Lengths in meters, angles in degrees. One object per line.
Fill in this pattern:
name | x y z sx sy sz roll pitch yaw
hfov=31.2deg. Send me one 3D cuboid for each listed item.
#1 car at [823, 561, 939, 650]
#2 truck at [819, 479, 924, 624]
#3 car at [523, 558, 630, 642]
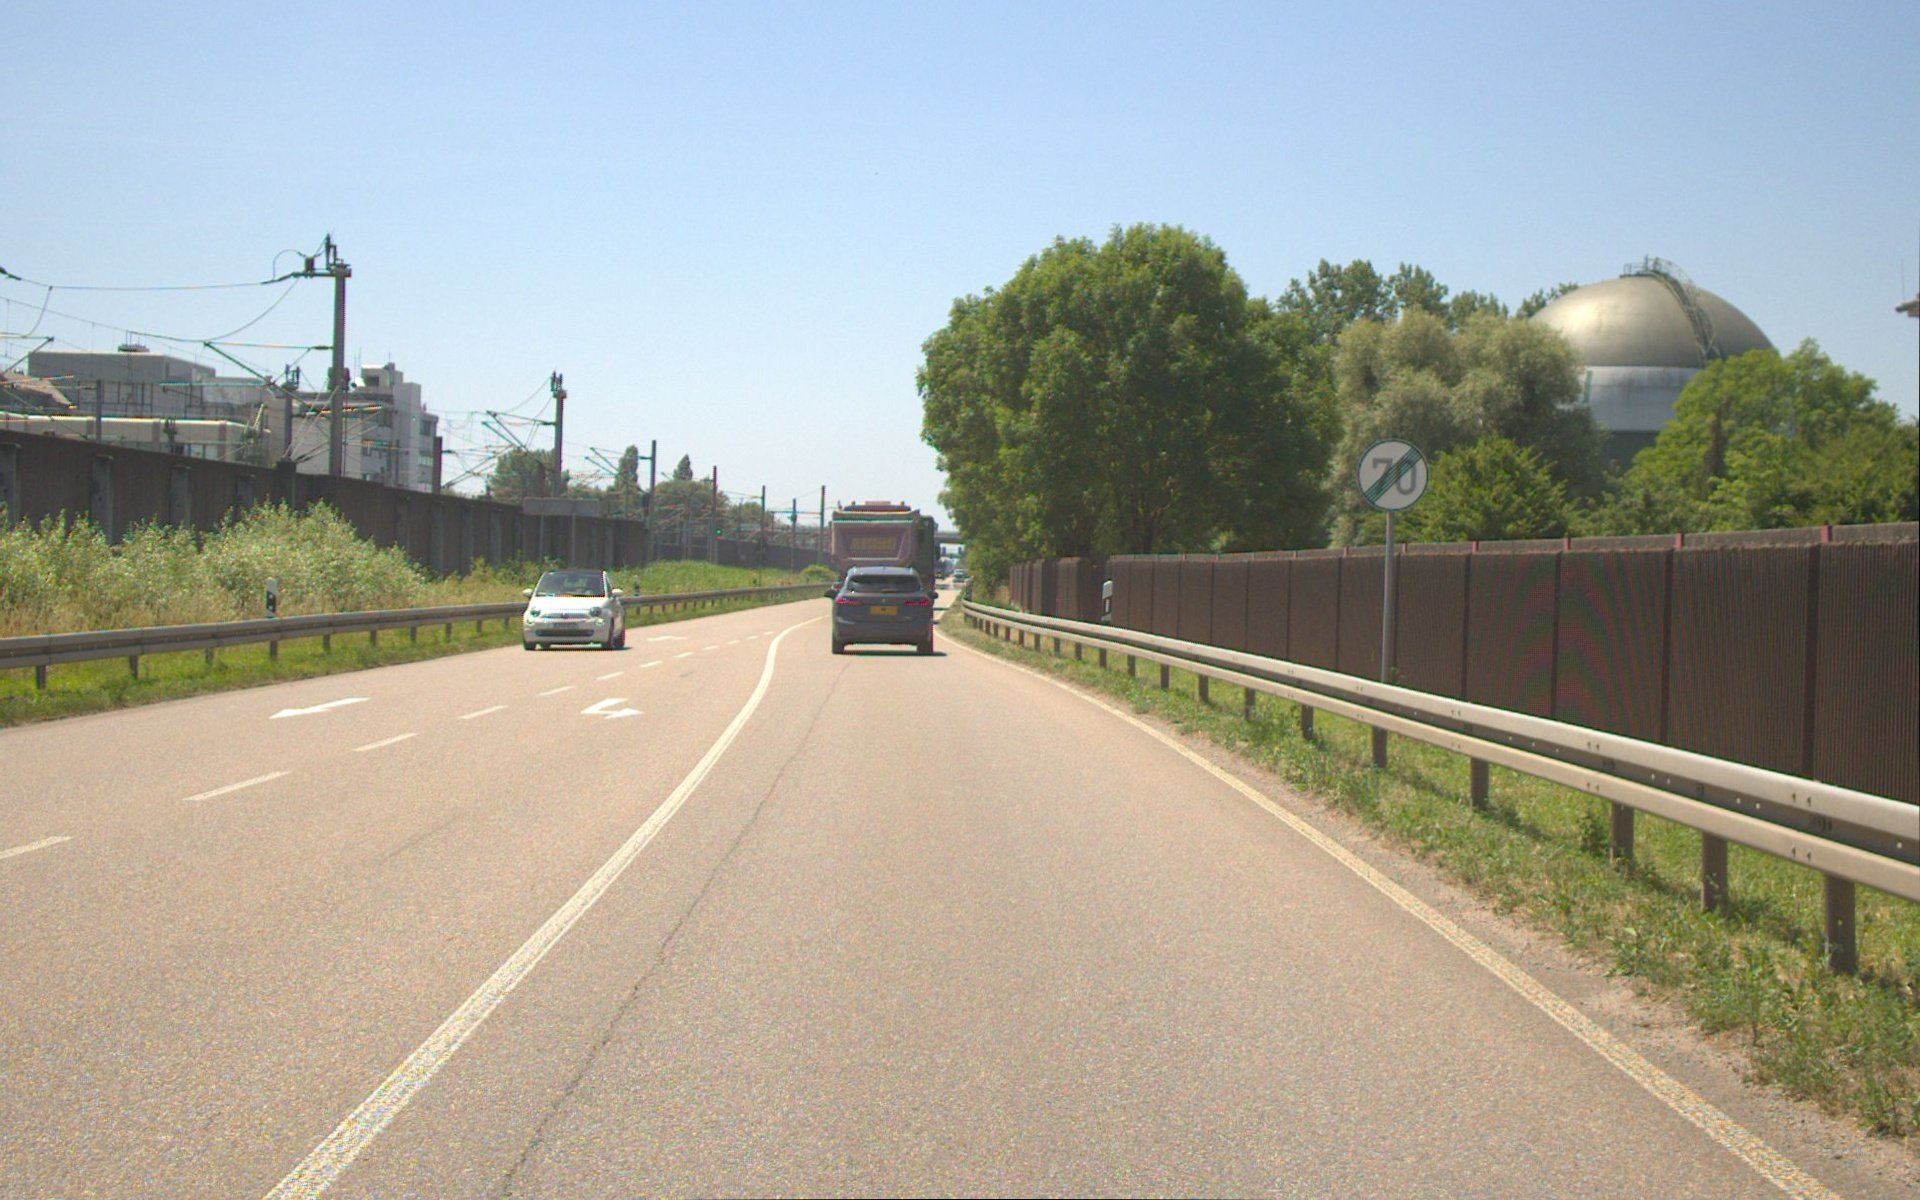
car | -1.407 0.130 62.177 1.993 1.498 4.000 1 -1 0
truck | -2.752 -1.387 105.483 2.995 4.166 11.808 1 0 -2
car | -7.125 -0.021 64.135 1.672 1.497 3.722 1 1 -2
